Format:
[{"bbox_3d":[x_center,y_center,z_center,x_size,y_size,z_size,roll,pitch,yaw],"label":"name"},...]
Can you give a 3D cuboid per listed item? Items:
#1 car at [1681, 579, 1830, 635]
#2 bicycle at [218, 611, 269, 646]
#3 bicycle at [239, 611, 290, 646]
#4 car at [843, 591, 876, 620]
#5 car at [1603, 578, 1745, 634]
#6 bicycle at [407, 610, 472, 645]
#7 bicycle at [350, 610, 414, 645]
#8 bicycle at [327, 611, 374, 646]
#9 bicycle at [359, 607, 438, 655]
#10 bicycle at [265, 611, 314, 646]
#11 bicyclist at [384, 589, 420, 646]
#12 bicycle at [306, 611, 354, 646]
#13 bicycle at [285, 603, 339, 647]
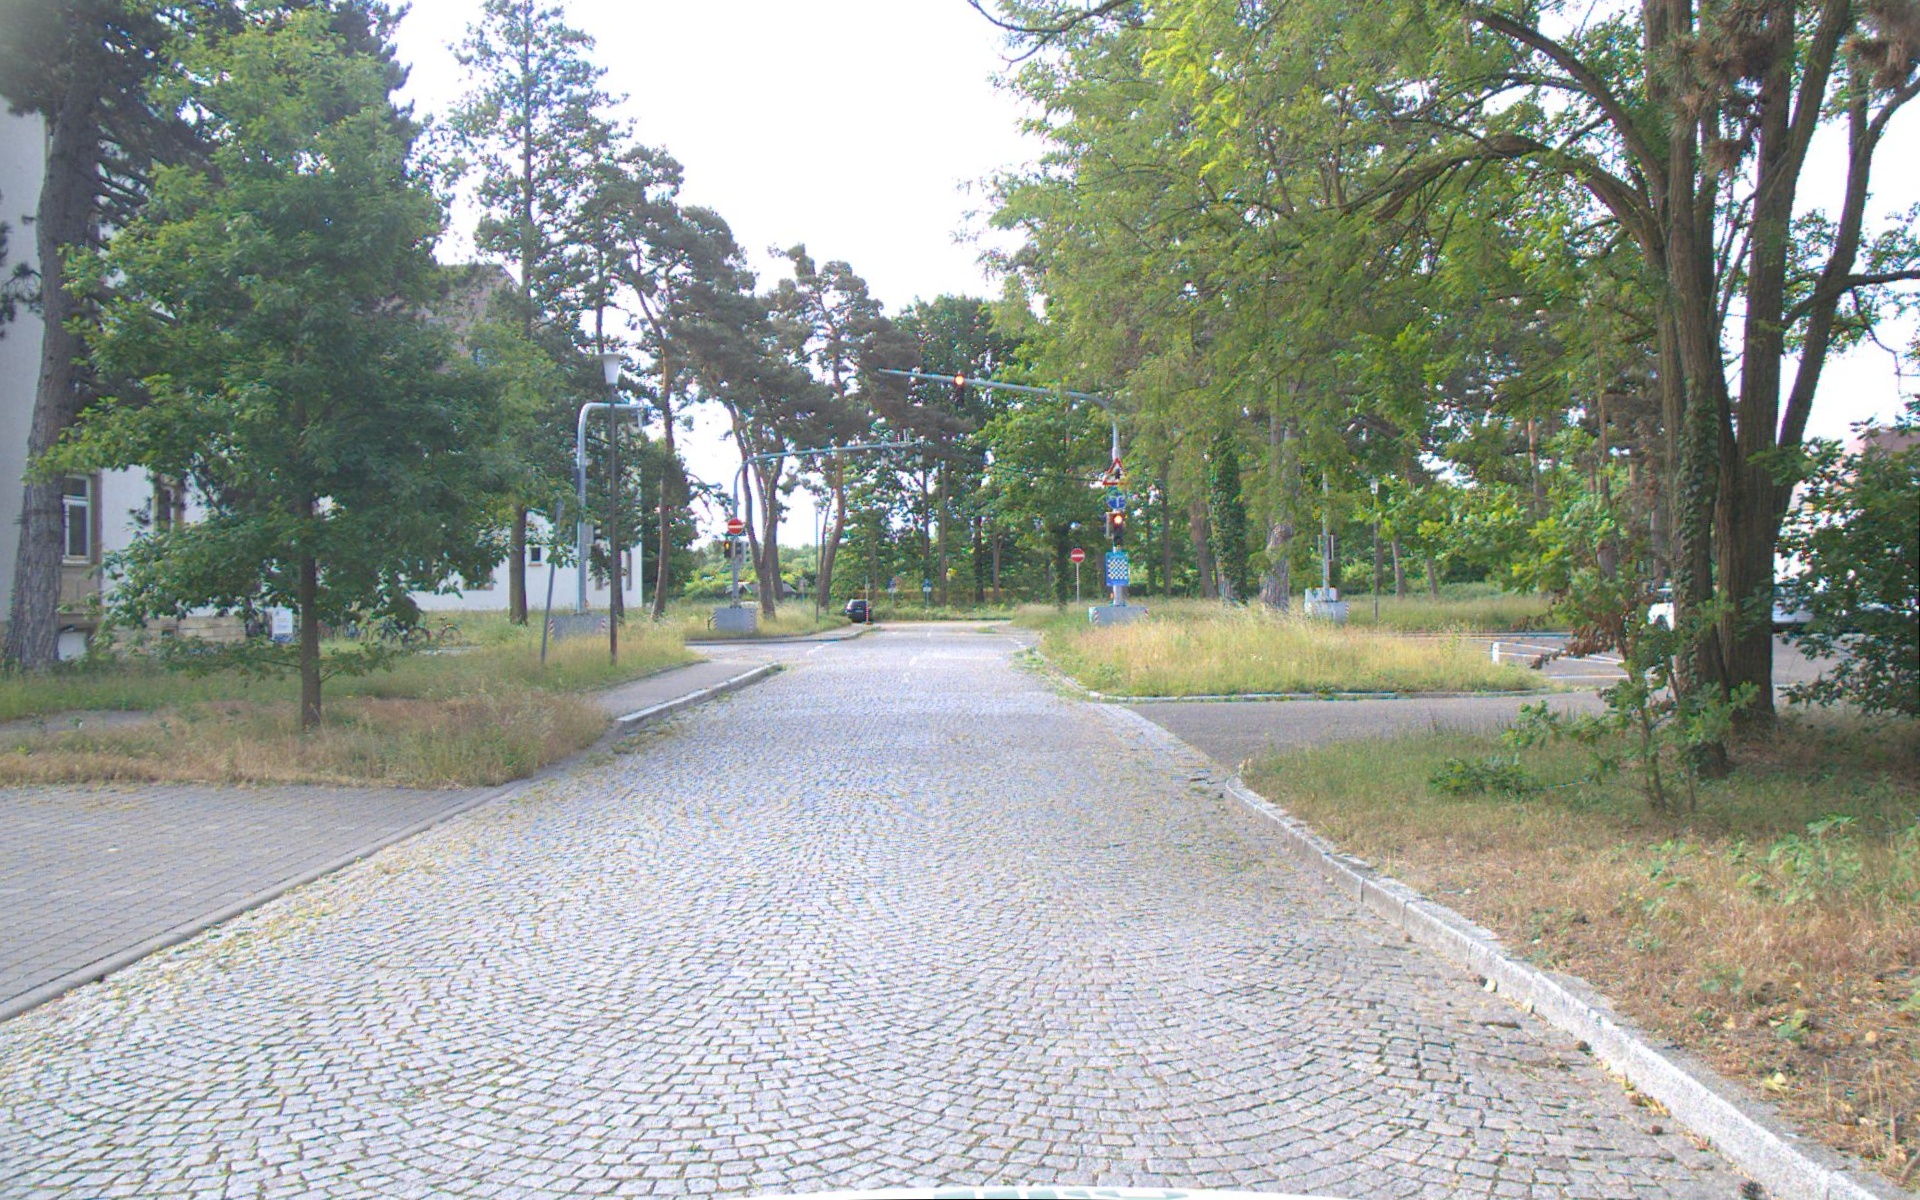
[{"bbox_3d":[23.144,0.243,48.300,1.954,1.507,4.421,-1,-1,-4],"label":"car"},{"bbox_3d":[-23.702,0.928,54.759,0.721,1.095,2.273,-1,0,0],"label":"bicycle"},{"bbox_3d":[-22.983,0.923,54.698,0.721,1.095,2.273,-1,0,0],"label":"bicycle"},{"bbox_3d":[-6.753,0.364,111.182,2.014,1.878,3.999,-1,0,-2],"label":"car"},{"bbox_3d":[20.679,0.209,48.082,1.954,1.507,4.421,-1,-1,-4],"label":"car"},{"bbox_3d":[-16.879,0.893,53.690,1.818,1.095,0.831,-1,0,1],"label":"bicycle"},{"bbox_3d":[-18.730,0.904,53.623,1.818,1.095,0.738,-1,0,1],"label":"bicycle"},{"bbox_3d":[-20.205,0.928,54.850,0.721,1.095,2.273,-1,0,0],"label":"bicycle"},{"bbox_3d":[-17.145,0.949,50.572,2.139,1.411,0.936,-1,0,-11],"label":"bicycle"},{"bbox_3d":[-22.355,0.942,55.201,0.721,1.095,2.273,-1,0,0],"label":"bicycle"},{"bbox_3d":[-17.069,0.530,50.600,0.904,1.727,0.954,-1,-1,-11],"label":"bicyclist"},{"bbox_3d":[-20.833,0.942,54.760,0.721,1.095,2.273,-1,0,0],"label":"bicycle"},{"bbox_3d":[-21.569,0.799,55.104,0.721,1.410,2.711,-1,0,0],"label":"bicycle"}]
